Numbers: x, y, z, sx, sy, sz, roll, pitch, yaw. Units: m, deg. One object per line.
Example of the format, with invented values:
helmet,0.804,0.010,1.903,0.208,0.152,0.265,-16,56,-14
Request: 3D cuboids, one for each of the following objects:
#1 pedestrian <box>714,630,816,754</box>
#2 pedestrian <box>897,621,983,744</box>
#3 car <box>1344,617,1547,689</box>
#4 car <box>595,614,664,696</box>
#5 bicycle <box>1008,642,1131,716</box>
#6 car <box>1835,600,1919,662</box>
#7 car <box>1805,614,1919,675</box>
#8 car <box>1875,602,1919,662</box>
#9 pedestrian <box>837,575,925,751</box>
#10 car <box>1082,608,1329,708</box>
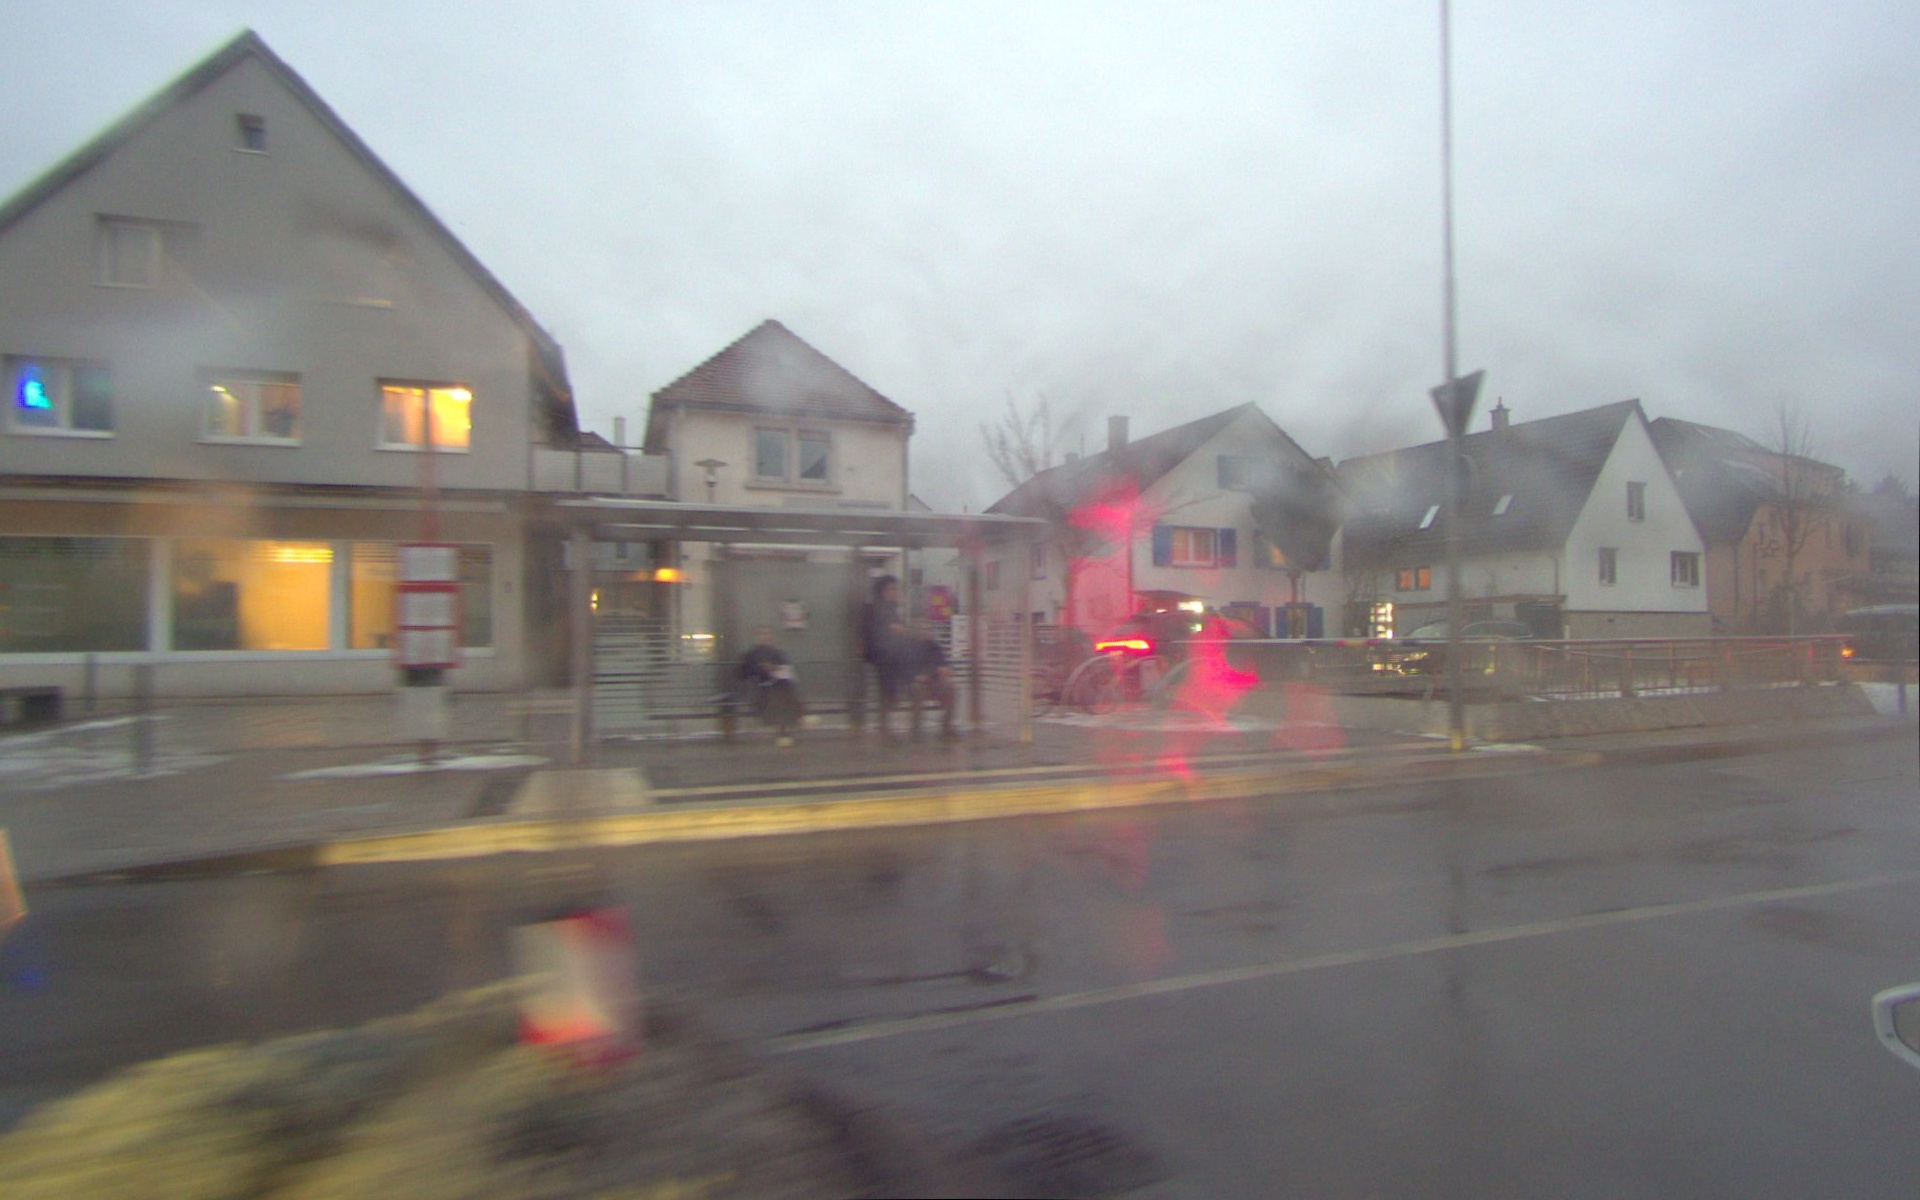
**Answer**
pedestrian,-2.053,0.921,10.495,0.888,1.174,0.987,-2,0,-20
pedestrian,-0.229,0.889,11.153,0.740,1.288,0.683,0,0,-25
car,11.045,1.197,22.820,4.513,1.502,1.796,1,-4,-28
car,-8.268,1.335,24.961,1.490,1.877,3.412,1,-2,-20
bicycle,1.585,1.130,14.547,1.709,1.023,0.470,0,-2,-13
car,24.943,0.786,25.484,1.690,1.543,3.786,1,-1,-22
car,22.570,1.048,23.891,1.582,1.390,3.429,0,-2,-30
car,27.062,0.854,26.479,1.566,1.629,4.080,1,-1,-25
pedestrian,-0.835,0.632,10.534,0.679,1.765,0.744,0,0,-29
car,4.794,1.099,19.573,4.500,1.723,1.751,0,-4,-24
